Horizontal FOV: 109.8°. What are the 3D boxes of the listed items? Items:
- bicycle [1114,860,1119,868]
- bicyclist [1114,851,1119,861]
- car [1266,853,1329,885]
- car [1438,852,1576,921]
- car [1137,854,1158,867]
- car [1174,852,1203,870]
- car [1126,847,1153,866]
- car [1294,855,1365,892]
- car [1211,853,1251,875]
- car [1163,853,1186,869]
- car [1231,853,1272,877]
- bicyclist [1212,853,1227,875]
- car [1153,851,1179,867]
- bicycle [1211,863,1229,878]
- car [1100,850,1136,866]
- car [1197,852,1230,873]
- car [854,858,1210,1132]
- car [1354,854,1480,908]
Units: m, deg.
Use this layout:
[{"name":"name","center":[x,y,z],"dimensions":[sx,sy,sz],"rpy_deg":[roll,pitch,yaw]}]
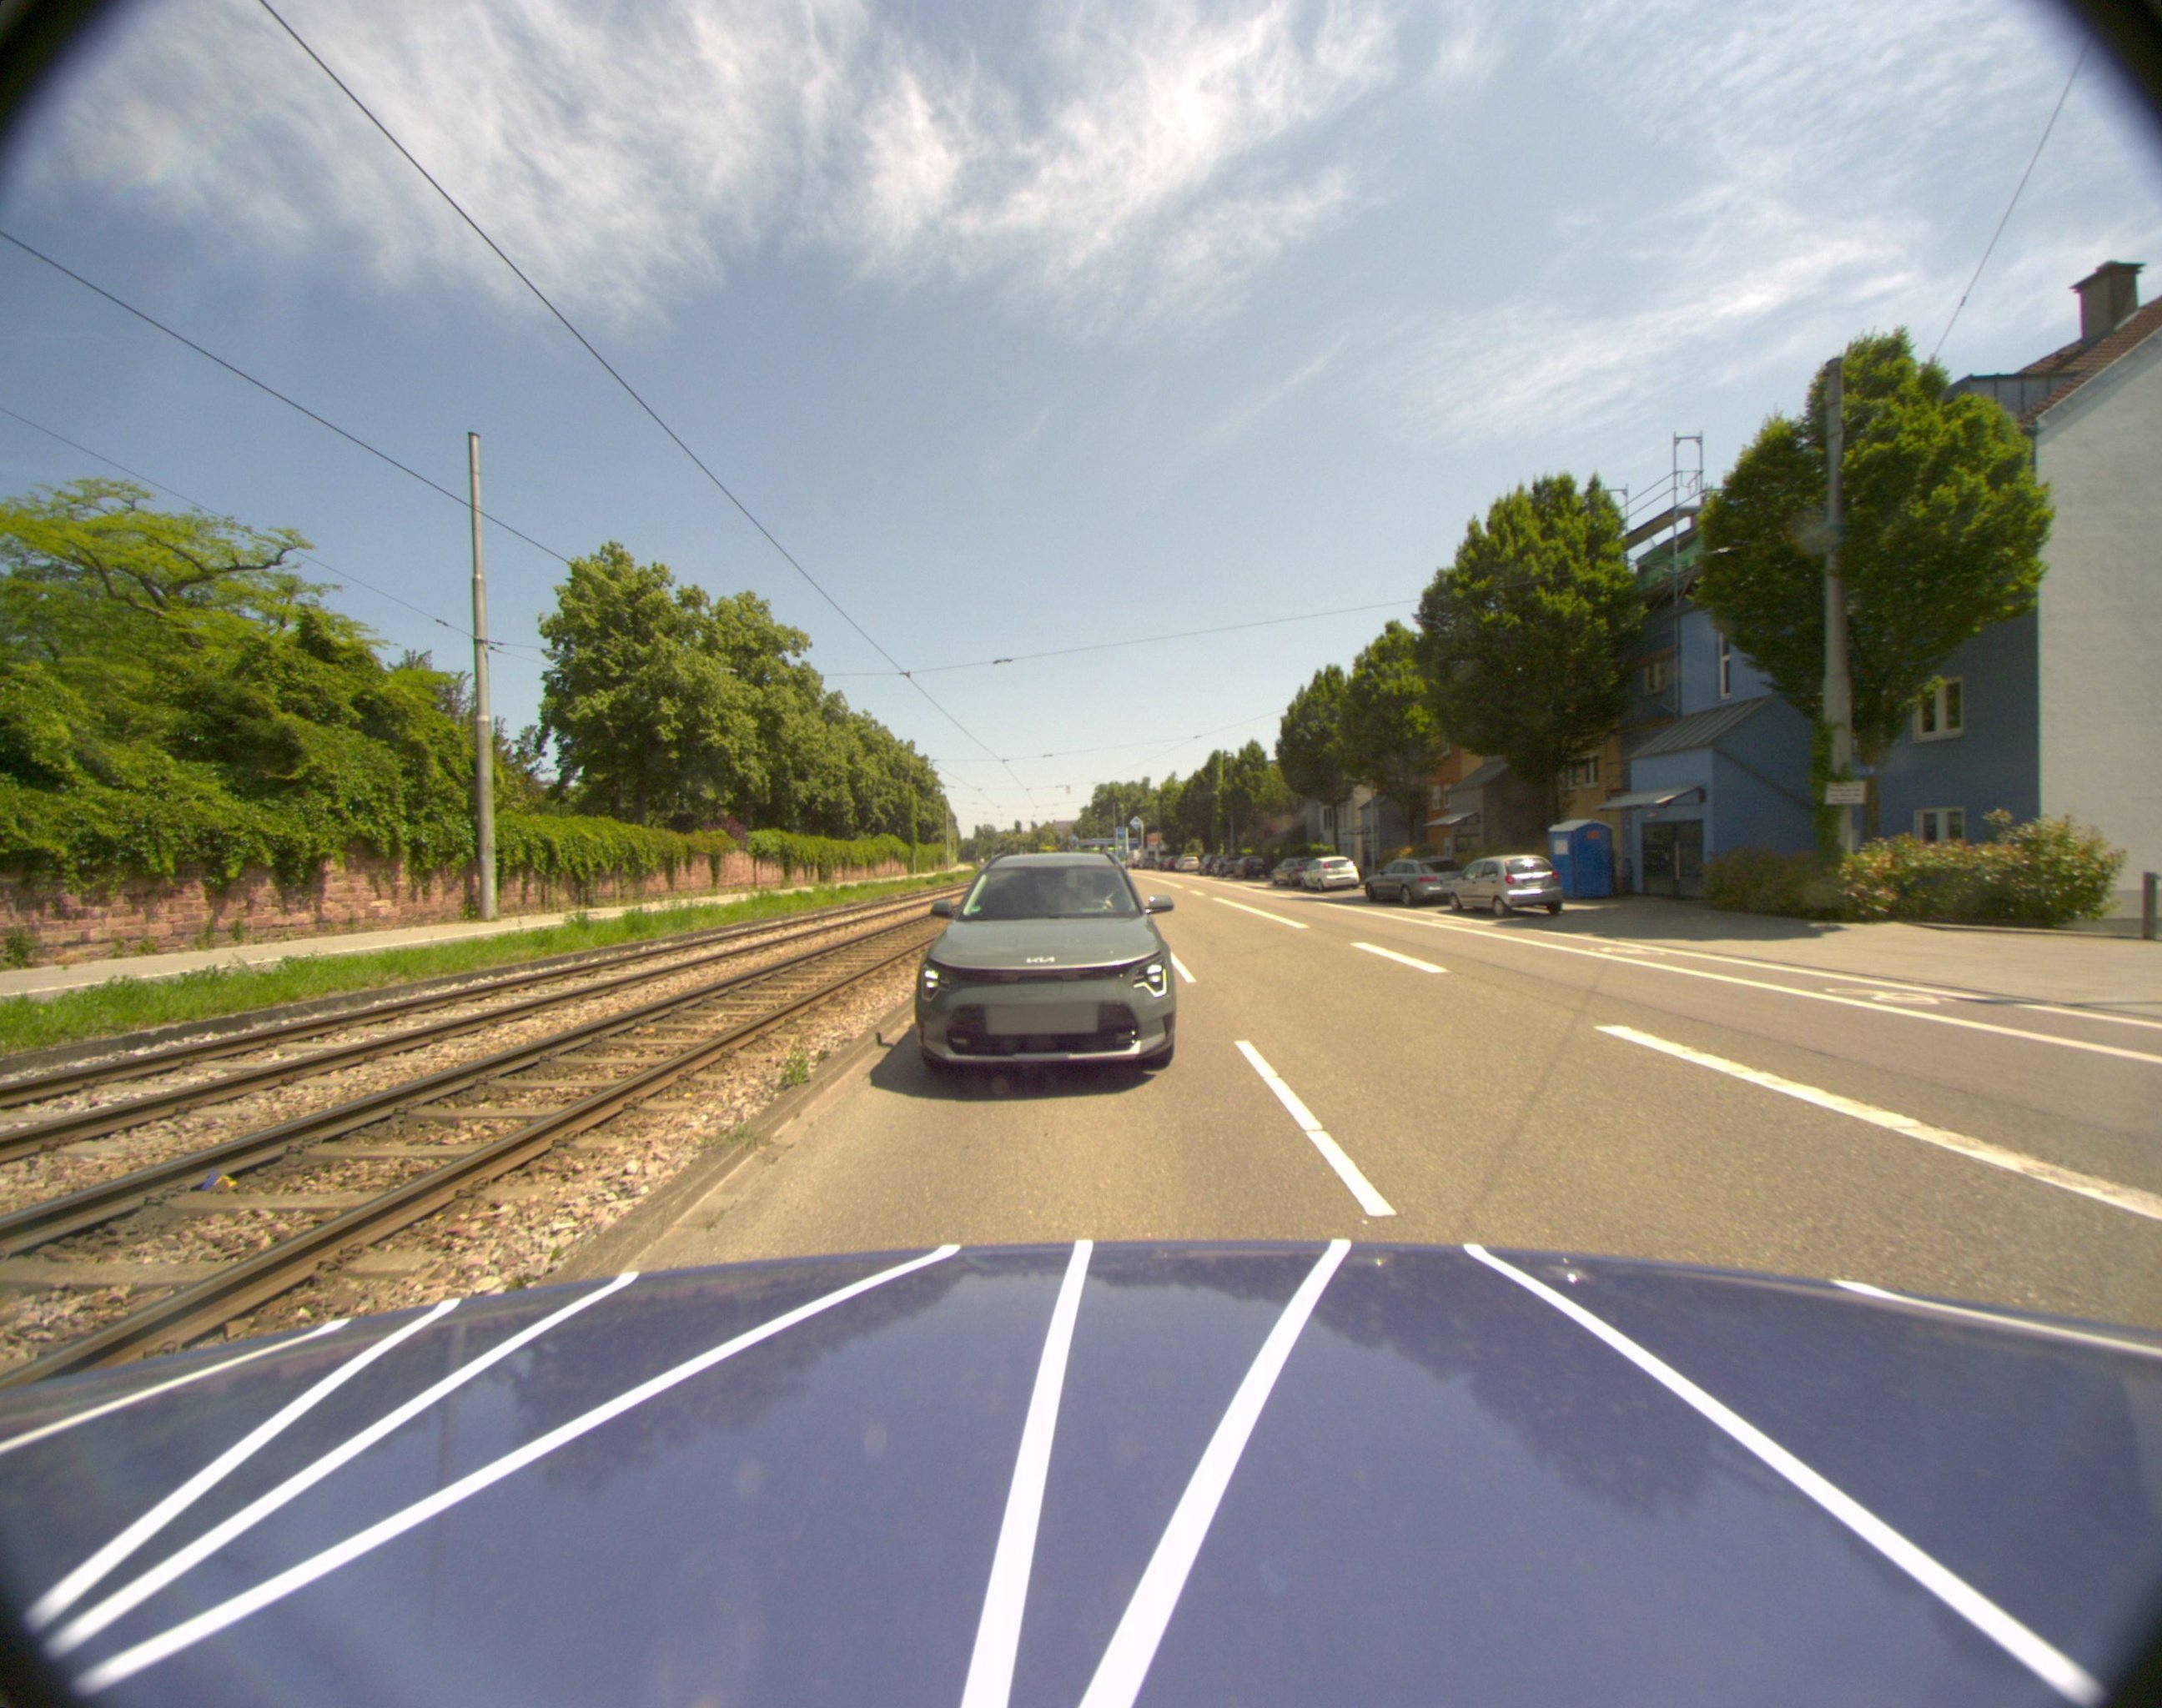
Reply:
[{"name":"bicycle","center":[5.082,1.464,110.172],"dimensions":[0.641,1.089,1.638],"rpy_deg":[1,1,1]},{"name":"bicyclist","center":[5.104,0.297,110.164],"dimensions":[0.737,1.496,0.737],"rpy_deg":[0,1,1]},{"name":"car","center":[11.483,0.775,40.602],"dimensions":[1.708,1.421,4.750],"rpy_deg":[-6,0,-3]},{"name":"car","center":[11.037,0.785,19.970],"dimensions":[1.597,1.487,3.448],"rpy_deg":[-6,0,1]},{"name":"car","center":[8.235,0.800,94.071],"dimensions":[1.870,1.528,4.142],"rpy_deg":[-3,0,-4]},{"name":"car","center":[10.442,0.678,74.094],"dimensions":[1.845,1.573,4.495],"rpy_deg":[-3,0,-2]},{"name":"car","center":[7.650,0.406,100.126],"dimensions":[2.285,2.294,5.226],"rpy_deg":[-3,0,-8]},{"name":"car","center":[11.386,0.834,35.153],"dimensions":[1.750,1.434,4.420],"rpy_deg":[-6,0,0]},{"name":"car","center":[11.183,0.731,56.951],"dimensions":[1.830,1.487,4.756],"rpy_deg":[-3,0,-1]},{"name":"car","center":[9.833,0.712,79.986],"dimensions":[1.604,1.584,3.680],"rpy_deg":[-3,0,-6]},{"name":"car","center":[11.513,0.725,51.662],"dimensions":[1.754,1.424,4.257],"rpy_deg":[-4,0,0]},{"name":"bicyclist","center":[8.992,0.655,49.378],"dimensions":[0.737,1.422,1.124],"rpy_deg":[2,0,-2]},{"name":"car","center":[9.503,0.541,85.193],"dimensions":[1.999,1.783,4.556],"rpy_deg":[-2,0,-5]},{"name":"bicycle","center":[9.035,1.078,49.407],"dimensions":[0.703,0.945,2.243],"rpy_deg":[1,-1,-2]},{"name":"car","center":[5.920,0.603,121.395],"dimensions":[5.219,2.294,2.288],"rpy_deg":[-3,0,16]},{"name":"car","center":[10.923,0.703,62.772],"dimensions":[1.772,1.579,4.147],"rpy_deg":[-3,0,-3]},{"name":"car","center":[-0.196,0.866,6.568],"dimensions":[2.062,1.534,4.001],"rpy_deg":[-3,0,3]},{"name":"car","center":[10.972,0.845,25.292],"dimensions":[1.791,1.441,5.133],"rpy_deg":[-5,-1,0]}]
